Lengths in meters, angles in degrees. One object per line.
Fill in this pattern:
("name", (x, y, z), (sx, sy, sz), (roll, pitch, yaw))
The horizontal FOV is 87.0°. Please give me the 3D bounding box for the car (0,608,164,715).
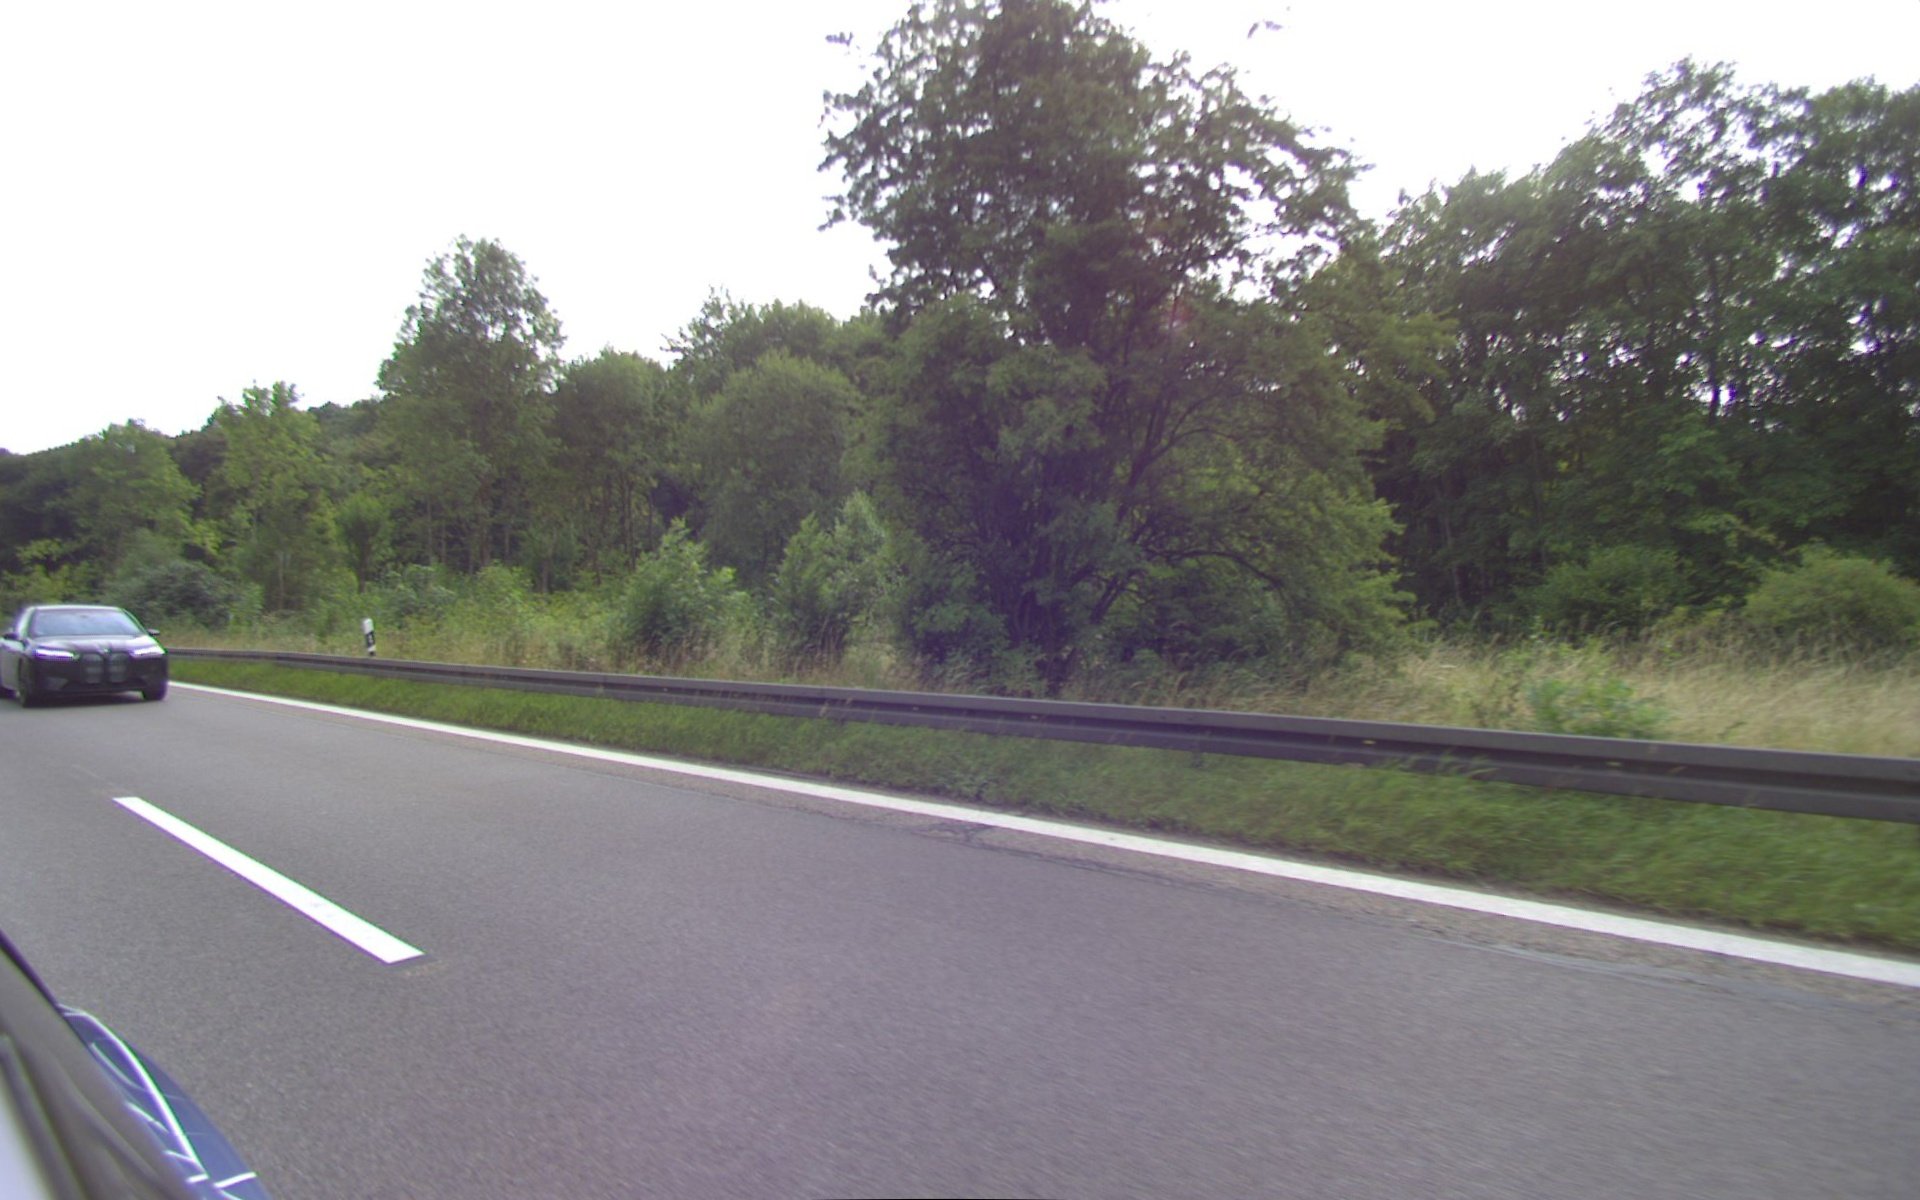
("car", (-16.008, 1.007, 18.286), (4.416, 1.678, 1.971), (-1, -1, 44))
